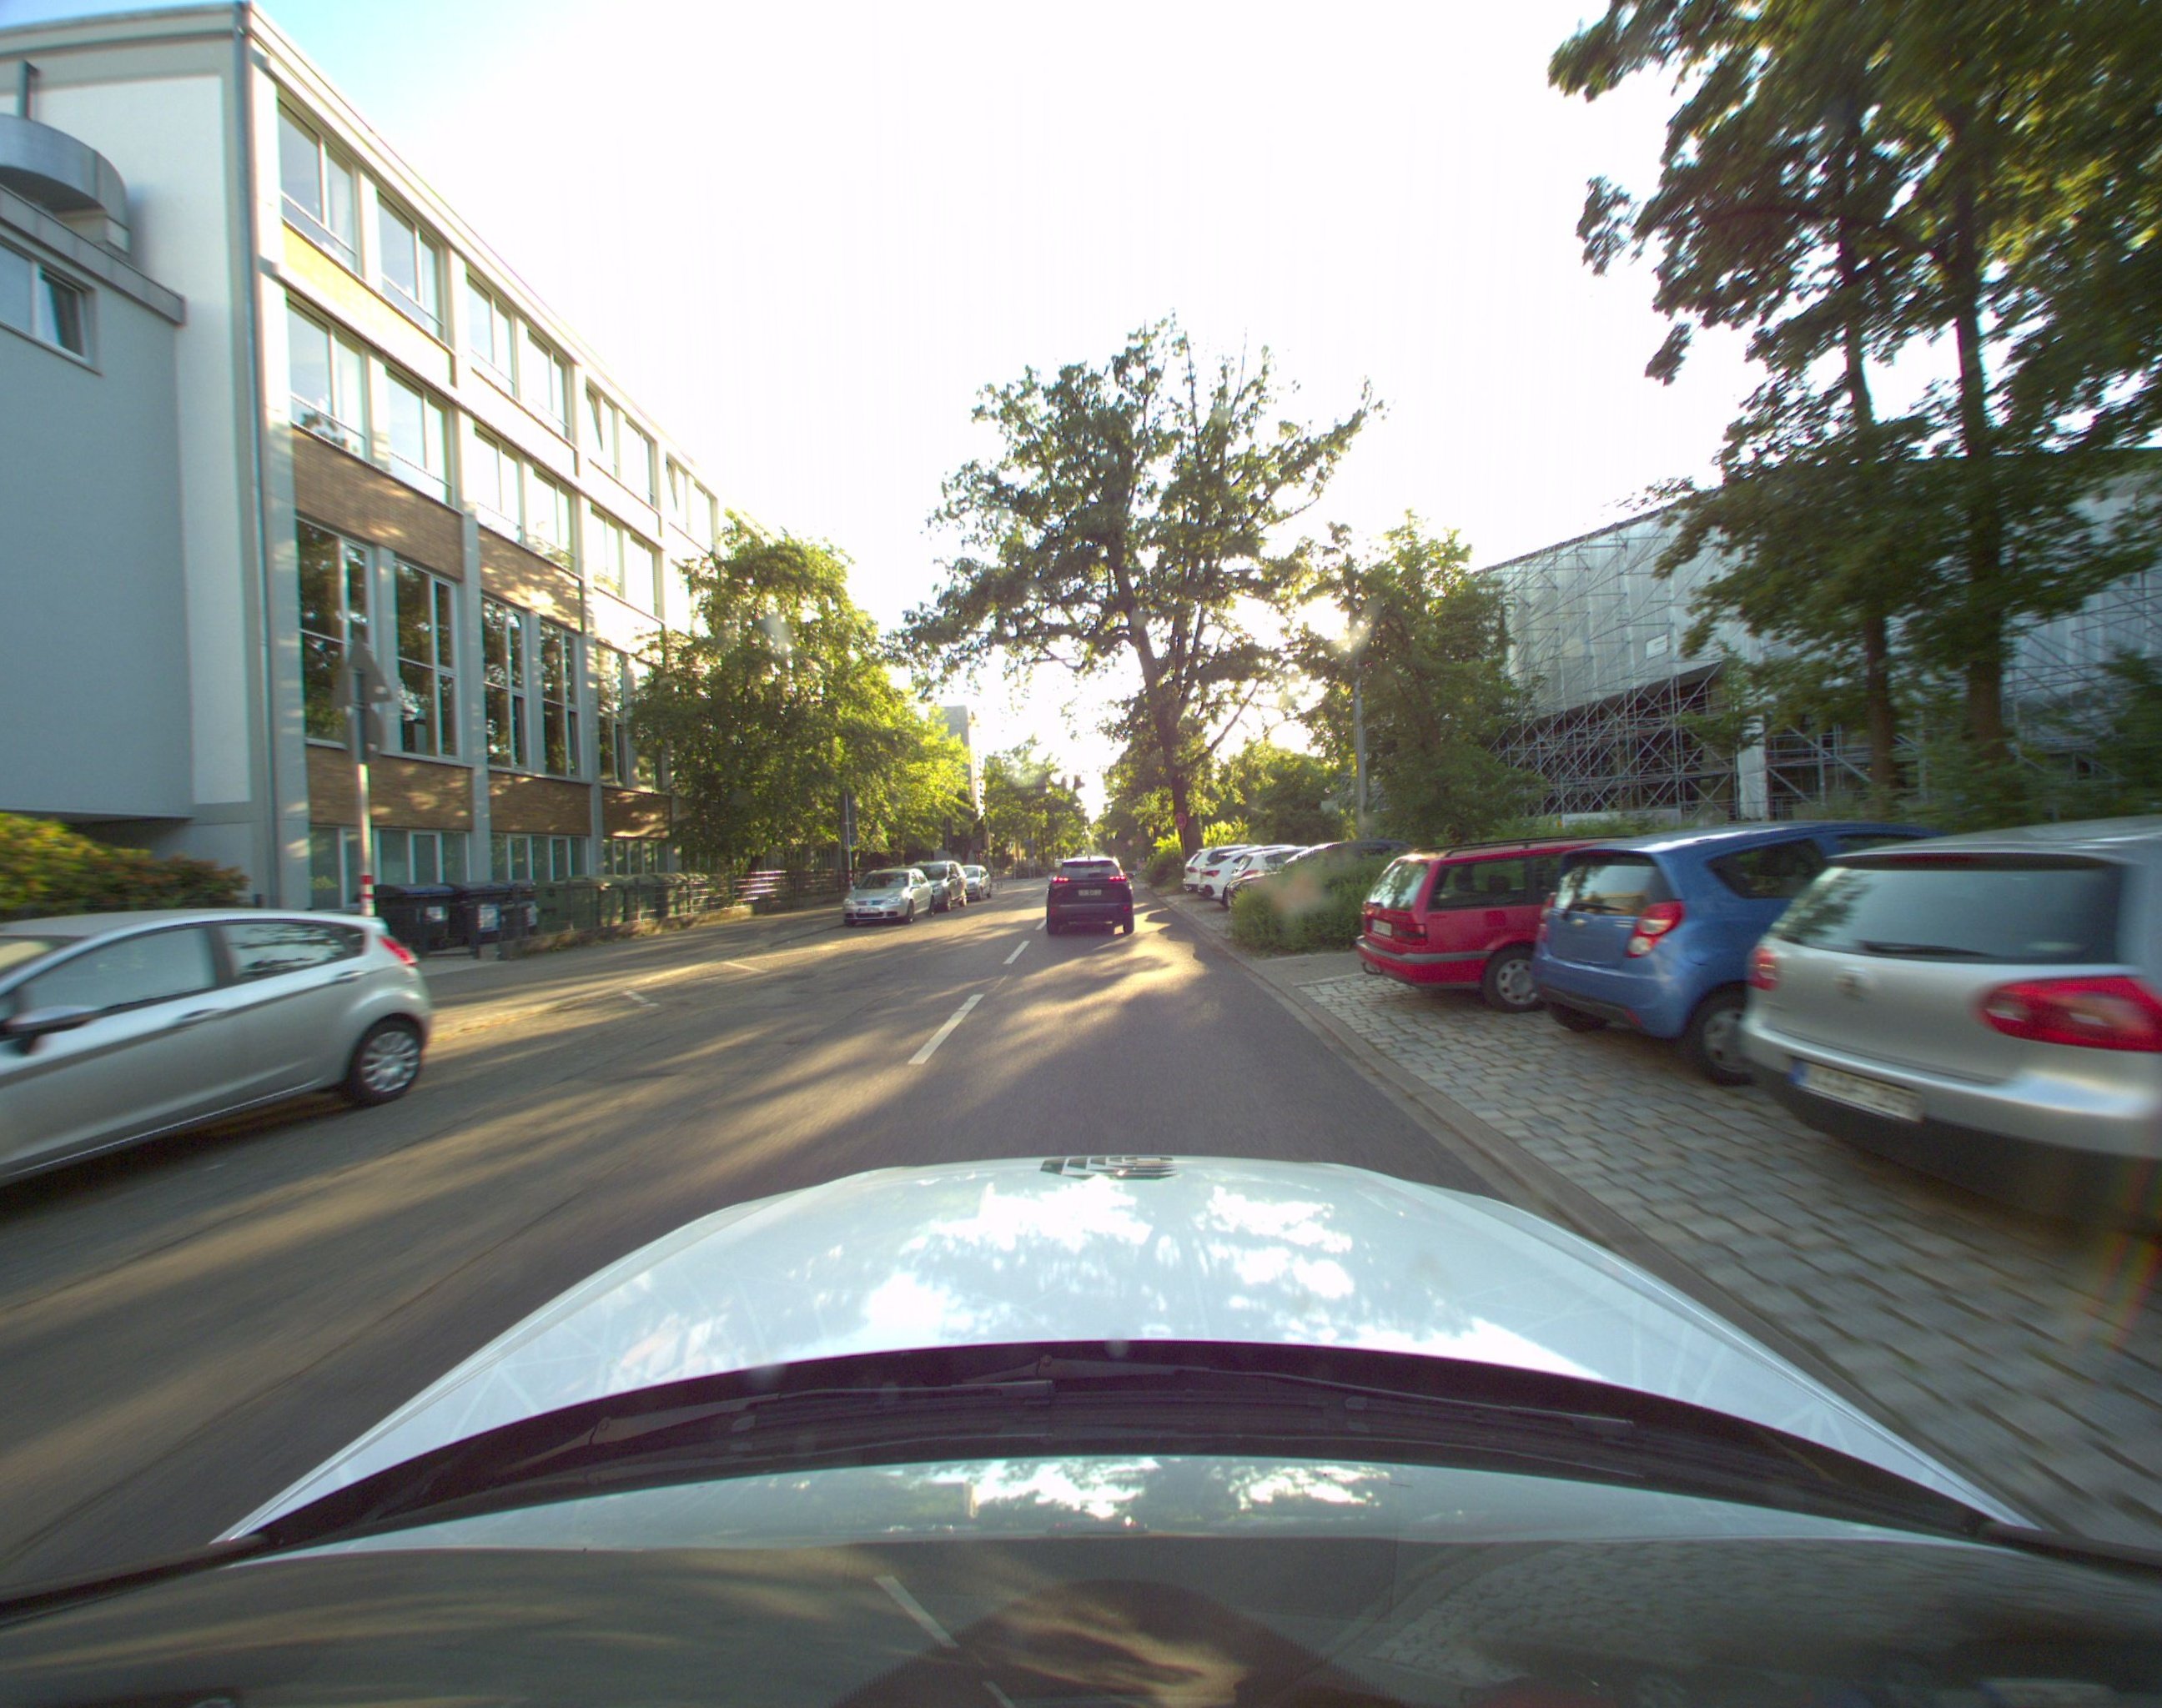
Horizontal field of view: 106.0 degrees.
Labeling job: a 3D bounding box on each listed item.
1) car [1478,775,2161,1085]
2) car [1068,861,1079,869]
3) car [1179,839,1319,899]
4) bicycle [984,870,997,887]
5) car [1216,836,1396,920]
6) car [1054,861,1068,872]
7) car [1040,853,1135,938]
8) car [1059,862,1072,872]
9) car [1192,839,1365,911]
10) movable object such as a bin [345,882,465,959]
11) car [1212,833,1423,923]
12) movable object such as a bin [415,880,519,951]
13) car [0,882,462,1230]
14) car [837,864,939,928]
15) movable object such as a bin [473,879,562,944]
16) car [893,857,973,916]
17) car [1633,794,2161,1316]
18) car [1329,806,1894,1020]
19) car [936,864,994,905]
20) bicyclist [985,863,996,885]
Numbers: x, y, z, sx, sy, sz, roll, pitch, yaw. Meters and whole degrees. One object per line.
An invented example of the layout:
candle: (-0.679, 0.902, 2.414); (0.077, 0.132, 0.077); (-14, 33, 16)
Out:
car: (5.174, 0.448, 5.857); (3.703, 1.555, 1.740); (-5, -1, -3)
car: (-1.387, 2.095, 151.360); (1.806, 1.354, 3.975); (-3, 0, -2)
car: (5.281, 0.472, 26.019); (4.150, 1.710, 1.870); (-2, 0, 5)
bicycle: (-6.880, 1.847, 61.767); (0.684, 1.249, 2.192); (-2, 0, 0)
car: (5.107, 0.554, 18.846); (3.577, 1.566, 1.818); (-5, -1, 0)
car: (-2.745, 1.646, 111.282); (1.806, 1.354, 3.995); (-3, 0, -3)
car: (0.145, 0.791, 17.404); (1.762, 1.568, 3.380); (-2, 0, 0)
car: (-2.257, 1.839, 117.520); (1.806, 1.354, 3.996); (-3, 0, -2)
car: (5.068, 0.538, 21.291); (4.107, 1.667, 1.723); (-2, -1, 1)
movable object such as a bin: (-13.873, 1.339, 16.767); (1.094, 1.430, 1.521); (-2, 0, 5)
car: (4.670, 0.466, 16.438); (3.733, 1.594, 1.696); (-2, -1, -1)
movable object such as a bin: (-13.742, 1.352, 18.278); (1.094, 1.430, 1.488); (-2, 0, 5)
car: (-5.776, 1.028, 4.555); (1.595, 1.493, 3.773); (-4, 0, 1)
car: (-5.208, 1.087, 22.554); (1.664, 1.494, 4.063); (-2, 0, 2)
movable object such as a bin: (-13.625, 1.364, 19.727); (1.094, 1.430, 1.374); (-2, 0, 5)
car: (-4.984, 1.045, 28.009); (1.673, 1.708, 4.342); (-4, 0, 2)
car: (4.871, 0.479, 3.296); (3.909, 1.454, 1.833); (-5, -1, 2)
car: (4.897, 0.512, 8.013); (4.321, 1.475, 1.743); (-5, 1, 2)
car: (-4.833, 1.254, 34.338); (1.673, 1.457, 3.884); (-4, 0, 2)
bicyclist: (-6.891, 1.490, 61.790); (0.673, 1.603, 0.706); (-2, -1, 0)
